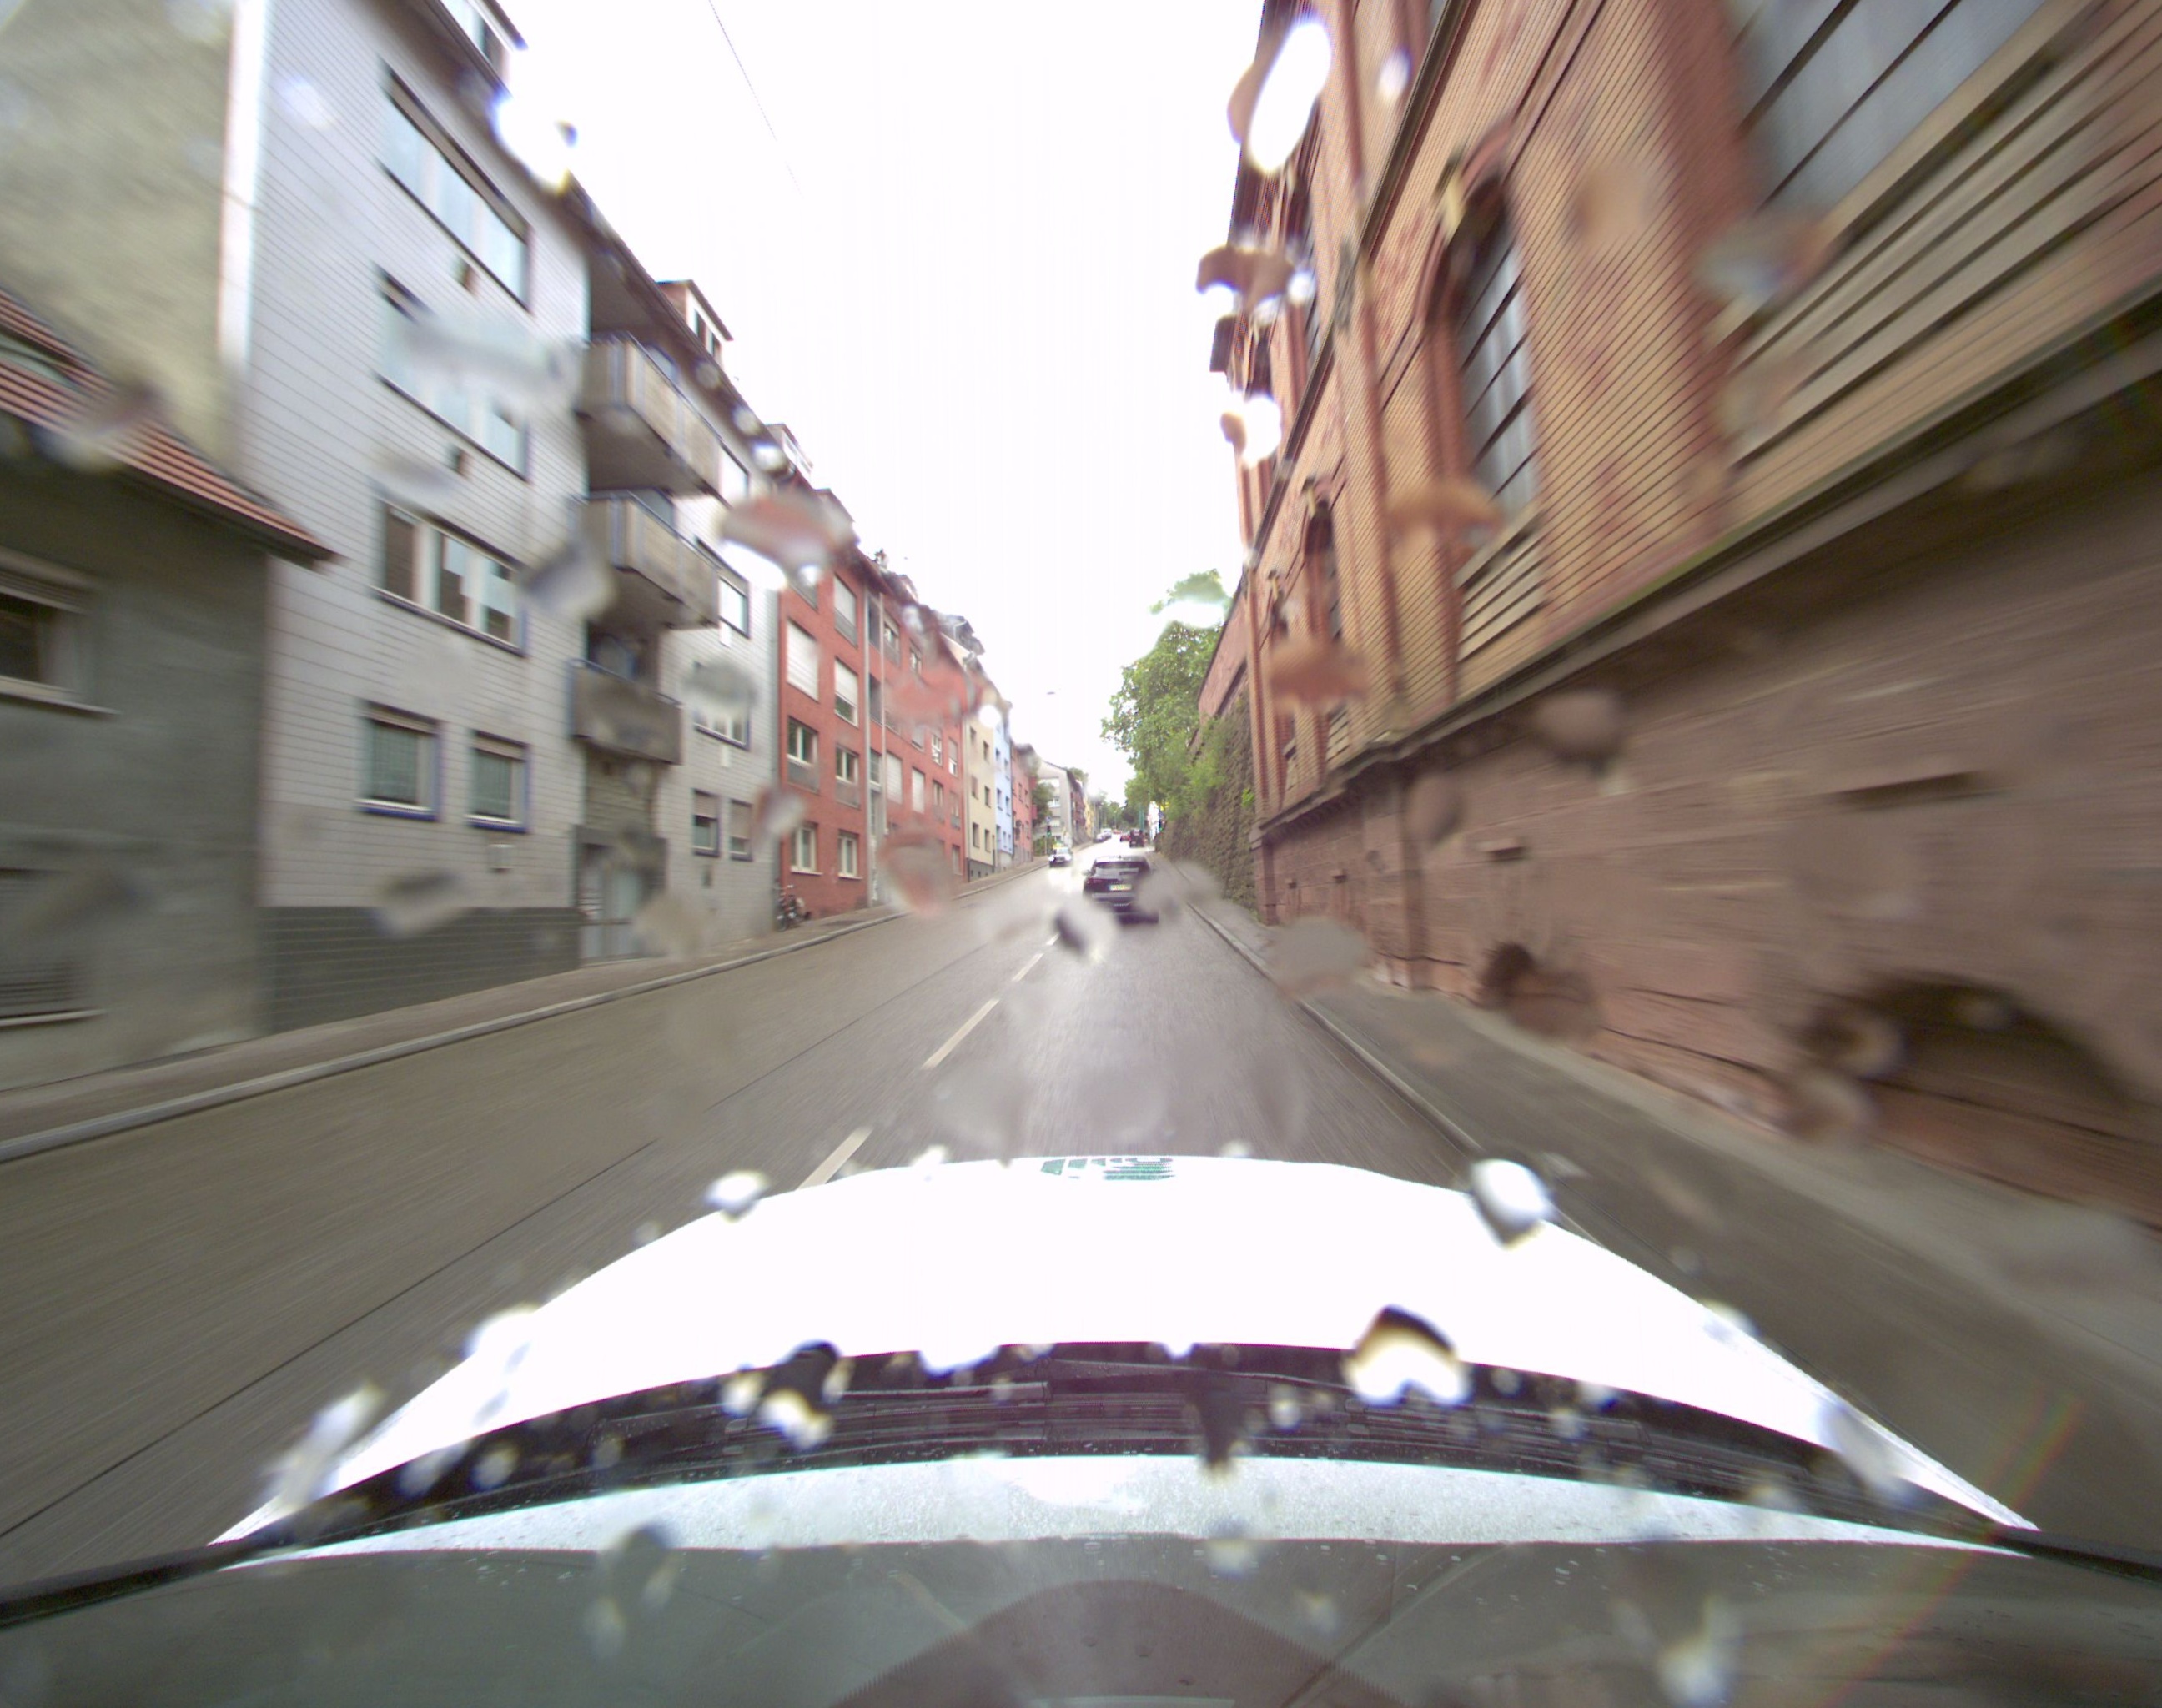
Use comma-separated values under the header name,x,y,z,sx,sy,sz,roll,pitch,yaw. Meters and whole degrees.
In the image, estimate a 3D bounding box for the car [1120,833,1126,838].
name,x,y,z,sx,sy,sz,roll,pitch,yaw
car,12.735,-5.635,245.575,1.786,1.510,4.004,-3,0,3

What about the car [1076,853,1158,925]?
name,x,y,z,sx,sy,sz,roll,pitch,yaw
car,0.895,0.812,20.830,1.874,1.594,3.923,-1,0,2

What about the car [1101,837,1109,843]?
name,x,y,z,sx,sy,sz,roll,pitch,yaw
car,5.806,-3.460,200.475,1.786,1.510,4.004,-3,0,3

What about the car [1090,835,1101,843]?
name,x,y,z,sx,sy,sz,roll,pitch,yaw
car,2.789,-2.894,156.082,1.786,1.510,4.004,-3,0,3

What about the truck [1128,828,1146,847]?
name,x,y,z,sx,sy,sz,roll,pitch,yaw
truck,7.593,-2.226,110.903,2.279,2.440,4.456,-3,0,3

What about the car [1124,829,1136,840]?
name,x,y,z,sx,sy,sz,roll,pitch,yaw
car,7.528,-2.966,125.720,1.786,1.510,4.504,-3,0,3

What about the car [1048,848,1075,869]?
name,x,y,z,sx,sy,sz,roll,pitch,yaw
car,-1.503,0.342,63.920,1.707,1.447,3.924,-3,1,3

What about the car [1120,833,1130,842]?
name,x,y,z,sx,sy,sz,roll,pitch,yaw
car,8.461,-3.199,156.478,1.786,1.510,4.004,-3,0,3

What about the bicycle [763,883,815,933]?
name,x,y,z,sx,sy,sz,roll,pitch,yaw
bicycle,-7.354,1.328,20.571,0.496,1.107,1.802,-2,0,4
